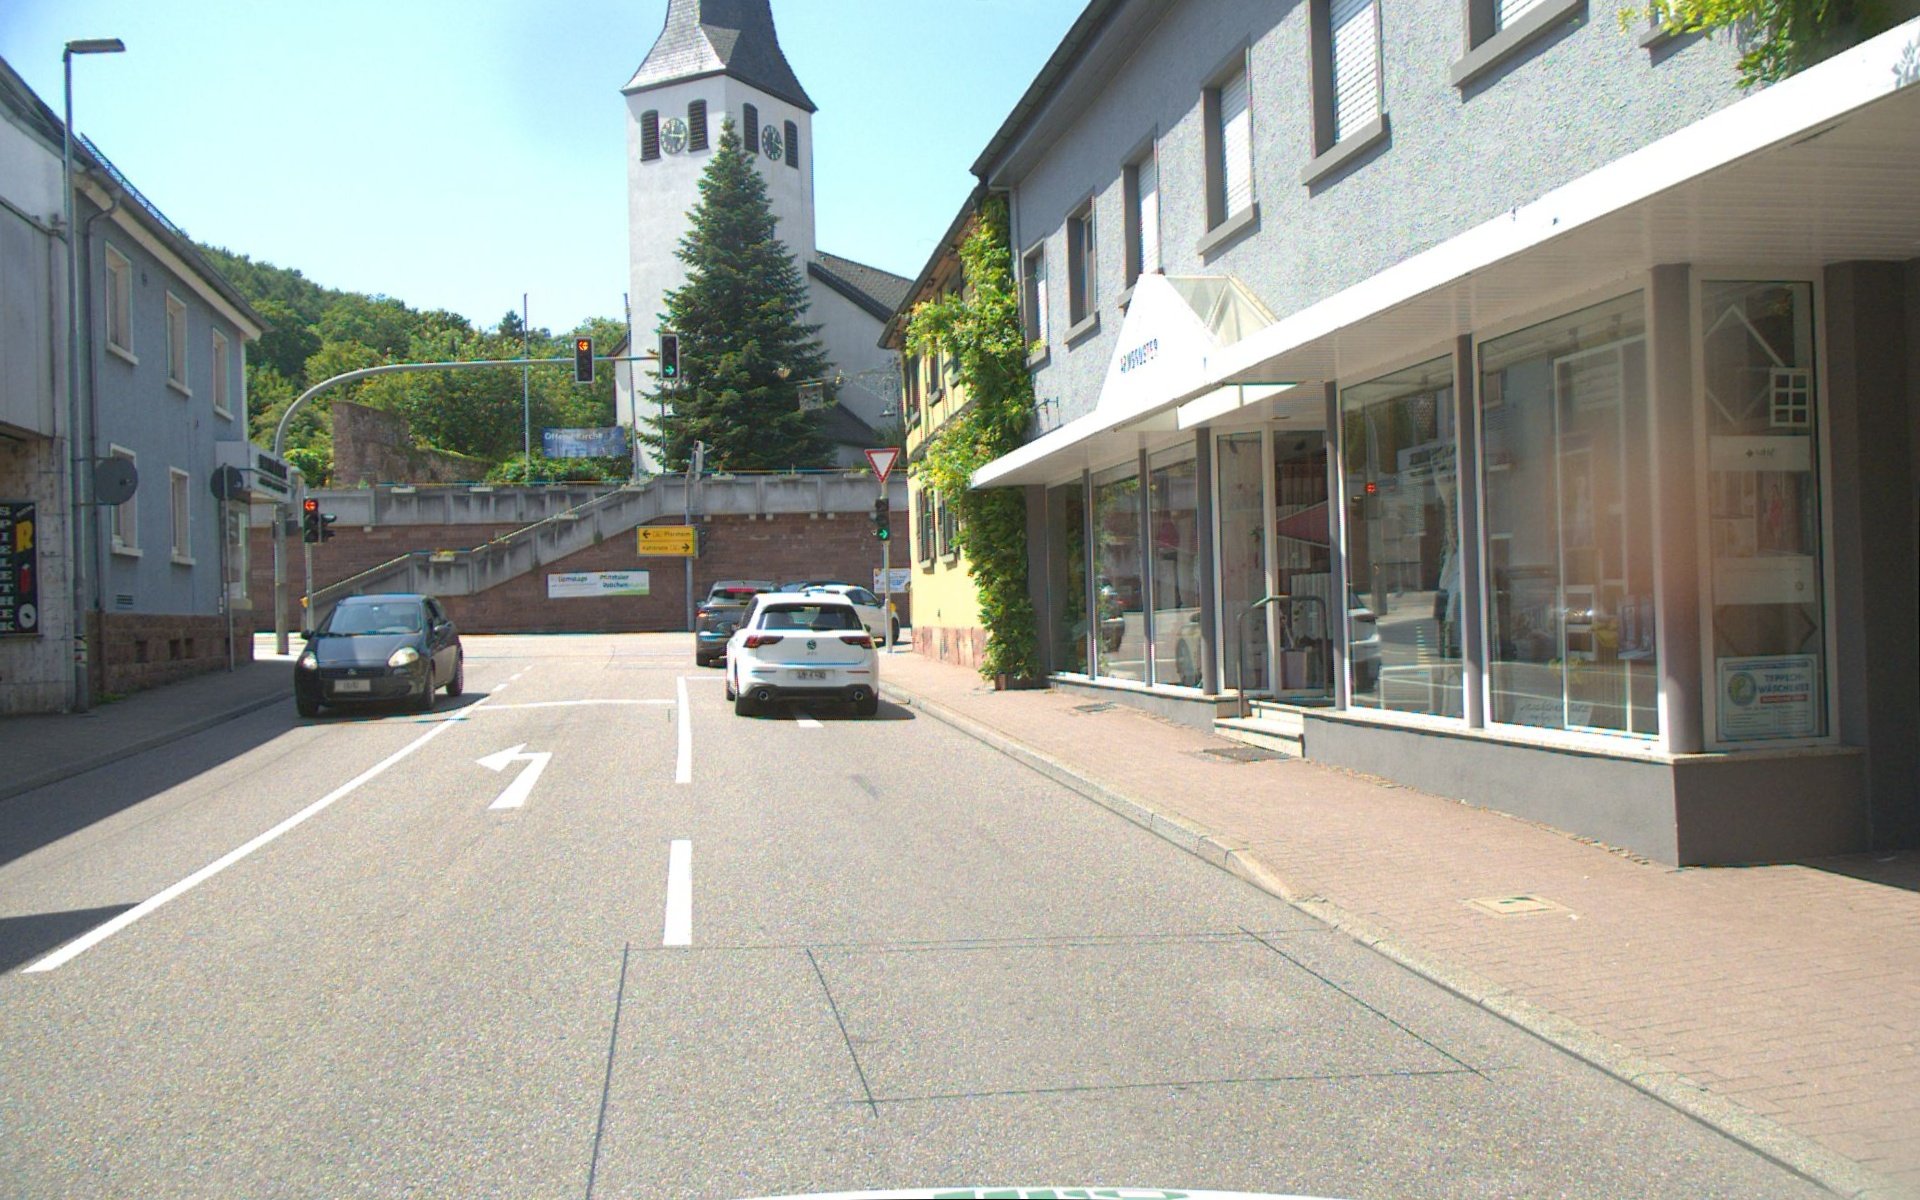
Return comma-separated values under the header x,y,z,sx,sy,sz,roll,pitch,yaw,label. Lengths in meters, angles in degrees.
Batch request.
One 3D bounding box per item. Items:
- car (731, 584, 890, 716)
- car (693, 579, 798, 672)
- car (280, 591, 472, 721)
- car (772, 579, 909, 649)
x,y,z,sx,sy,sz,roll,pitch,yaw,label
-1.998,0.578,21.128,1.750,1.484,3.855,-1,0,-9,car
-4.254,0.443,33.007,1.912,1.610,4.320,-1,2,-7,car
-7.755,0.676,22.287,1.686,1.447,3.813,-3,2,-9,car
-2.852,0.308,40.445,1.735,1.522,3.987,0,2,22,car
